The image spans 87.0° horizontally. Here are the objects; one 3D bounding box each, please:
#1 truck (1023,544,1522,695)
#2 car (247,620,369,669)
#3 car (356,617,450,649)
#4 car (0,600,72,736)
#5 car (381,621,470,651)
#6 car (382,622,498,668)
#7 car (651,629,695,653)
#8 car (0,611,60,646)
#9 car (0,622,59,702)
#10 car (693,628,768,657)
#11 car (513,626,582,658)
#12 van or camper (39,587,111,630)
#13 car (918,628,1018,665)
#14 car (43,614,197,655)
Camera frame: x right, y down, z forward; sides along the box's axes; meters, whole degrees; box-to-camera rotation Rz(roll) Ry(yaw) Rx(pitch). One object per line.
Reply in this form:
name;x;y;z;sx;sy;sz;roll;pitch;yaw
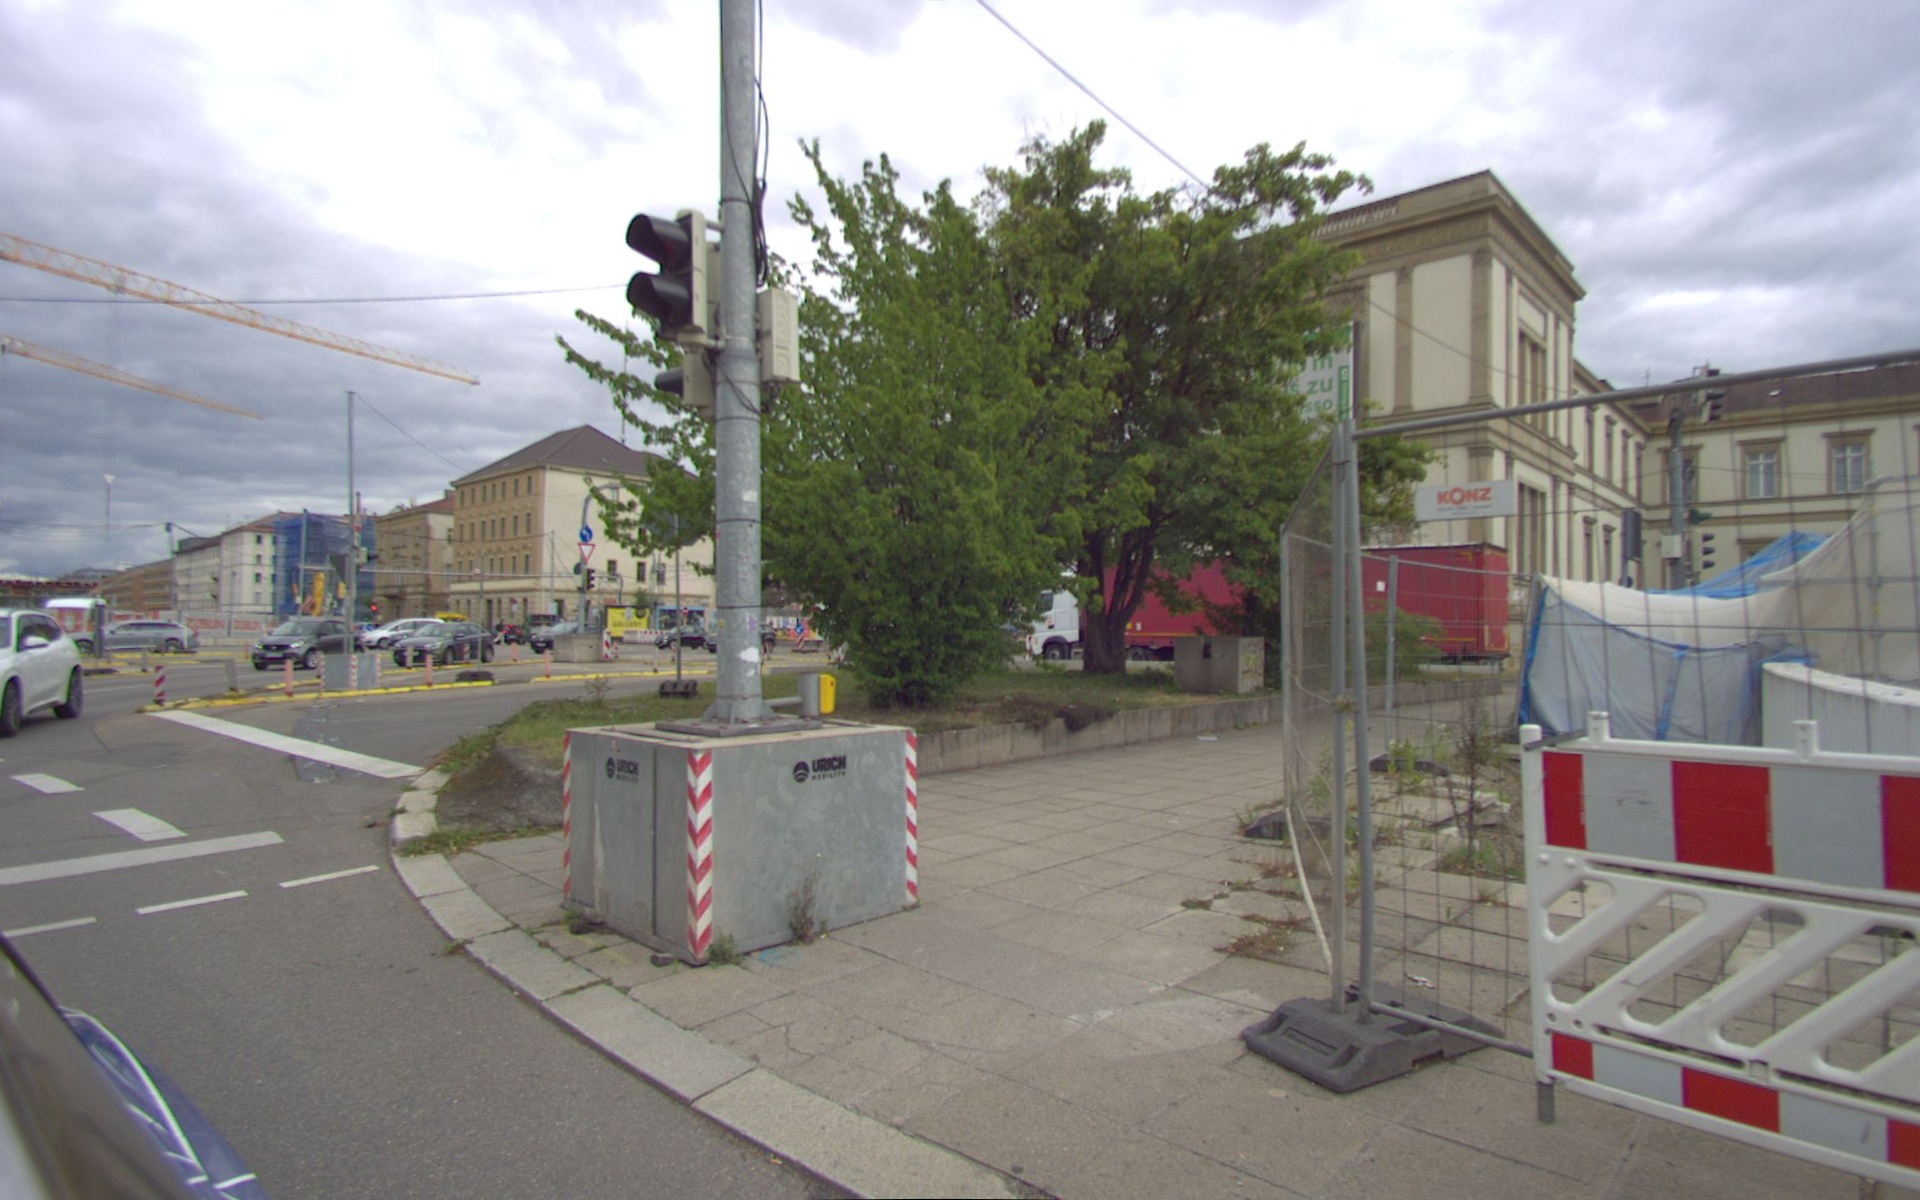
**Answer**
truck;9.468;0.740;34.336;16.615;4.114;2.885;-1;-4;43
car;-20.510;1.401;32.022;1.556;1.430;3.571;2;-3;-1
car;-29.424;1.767;53.573;1.692;1.586;4.015;-3;-5;42
car;-12.868;0.840;12.768;1.782;1.617;3.724;0;-1;-30
car;-27.248;1.862;51.629;3.647;1.400;1.730;4;-4;-43
car;-17.539;1.472;34.338;1.828;1.431;4.104;0;-1;0
car;-17.854;2.520;63.110;1.848;1.431;4.109;0;-1;-5
car;-39.422;1.167;41.199;1.693;1.427;4.028;-2;-3;44
car;-18.613;1.110;18.311;1.704;1.481;4.432;2;-3;-17
car;-12.308;2.266;54.492;1.866;1.431;4.071;-1;-1;25
car;-19.429;1.957;47.821;1.848;1.431;4.109;0;-1;-5
van or camper;-47.560;0.446;54.478;1.965;2.244;4.013;2;-1;-28
car;0.297;1.965;42.899;4.131;1.515;1.746;-3;-4;43
car;-34.705;1.437;41.923;1.909;1.591;4.622;-1;-2;38
